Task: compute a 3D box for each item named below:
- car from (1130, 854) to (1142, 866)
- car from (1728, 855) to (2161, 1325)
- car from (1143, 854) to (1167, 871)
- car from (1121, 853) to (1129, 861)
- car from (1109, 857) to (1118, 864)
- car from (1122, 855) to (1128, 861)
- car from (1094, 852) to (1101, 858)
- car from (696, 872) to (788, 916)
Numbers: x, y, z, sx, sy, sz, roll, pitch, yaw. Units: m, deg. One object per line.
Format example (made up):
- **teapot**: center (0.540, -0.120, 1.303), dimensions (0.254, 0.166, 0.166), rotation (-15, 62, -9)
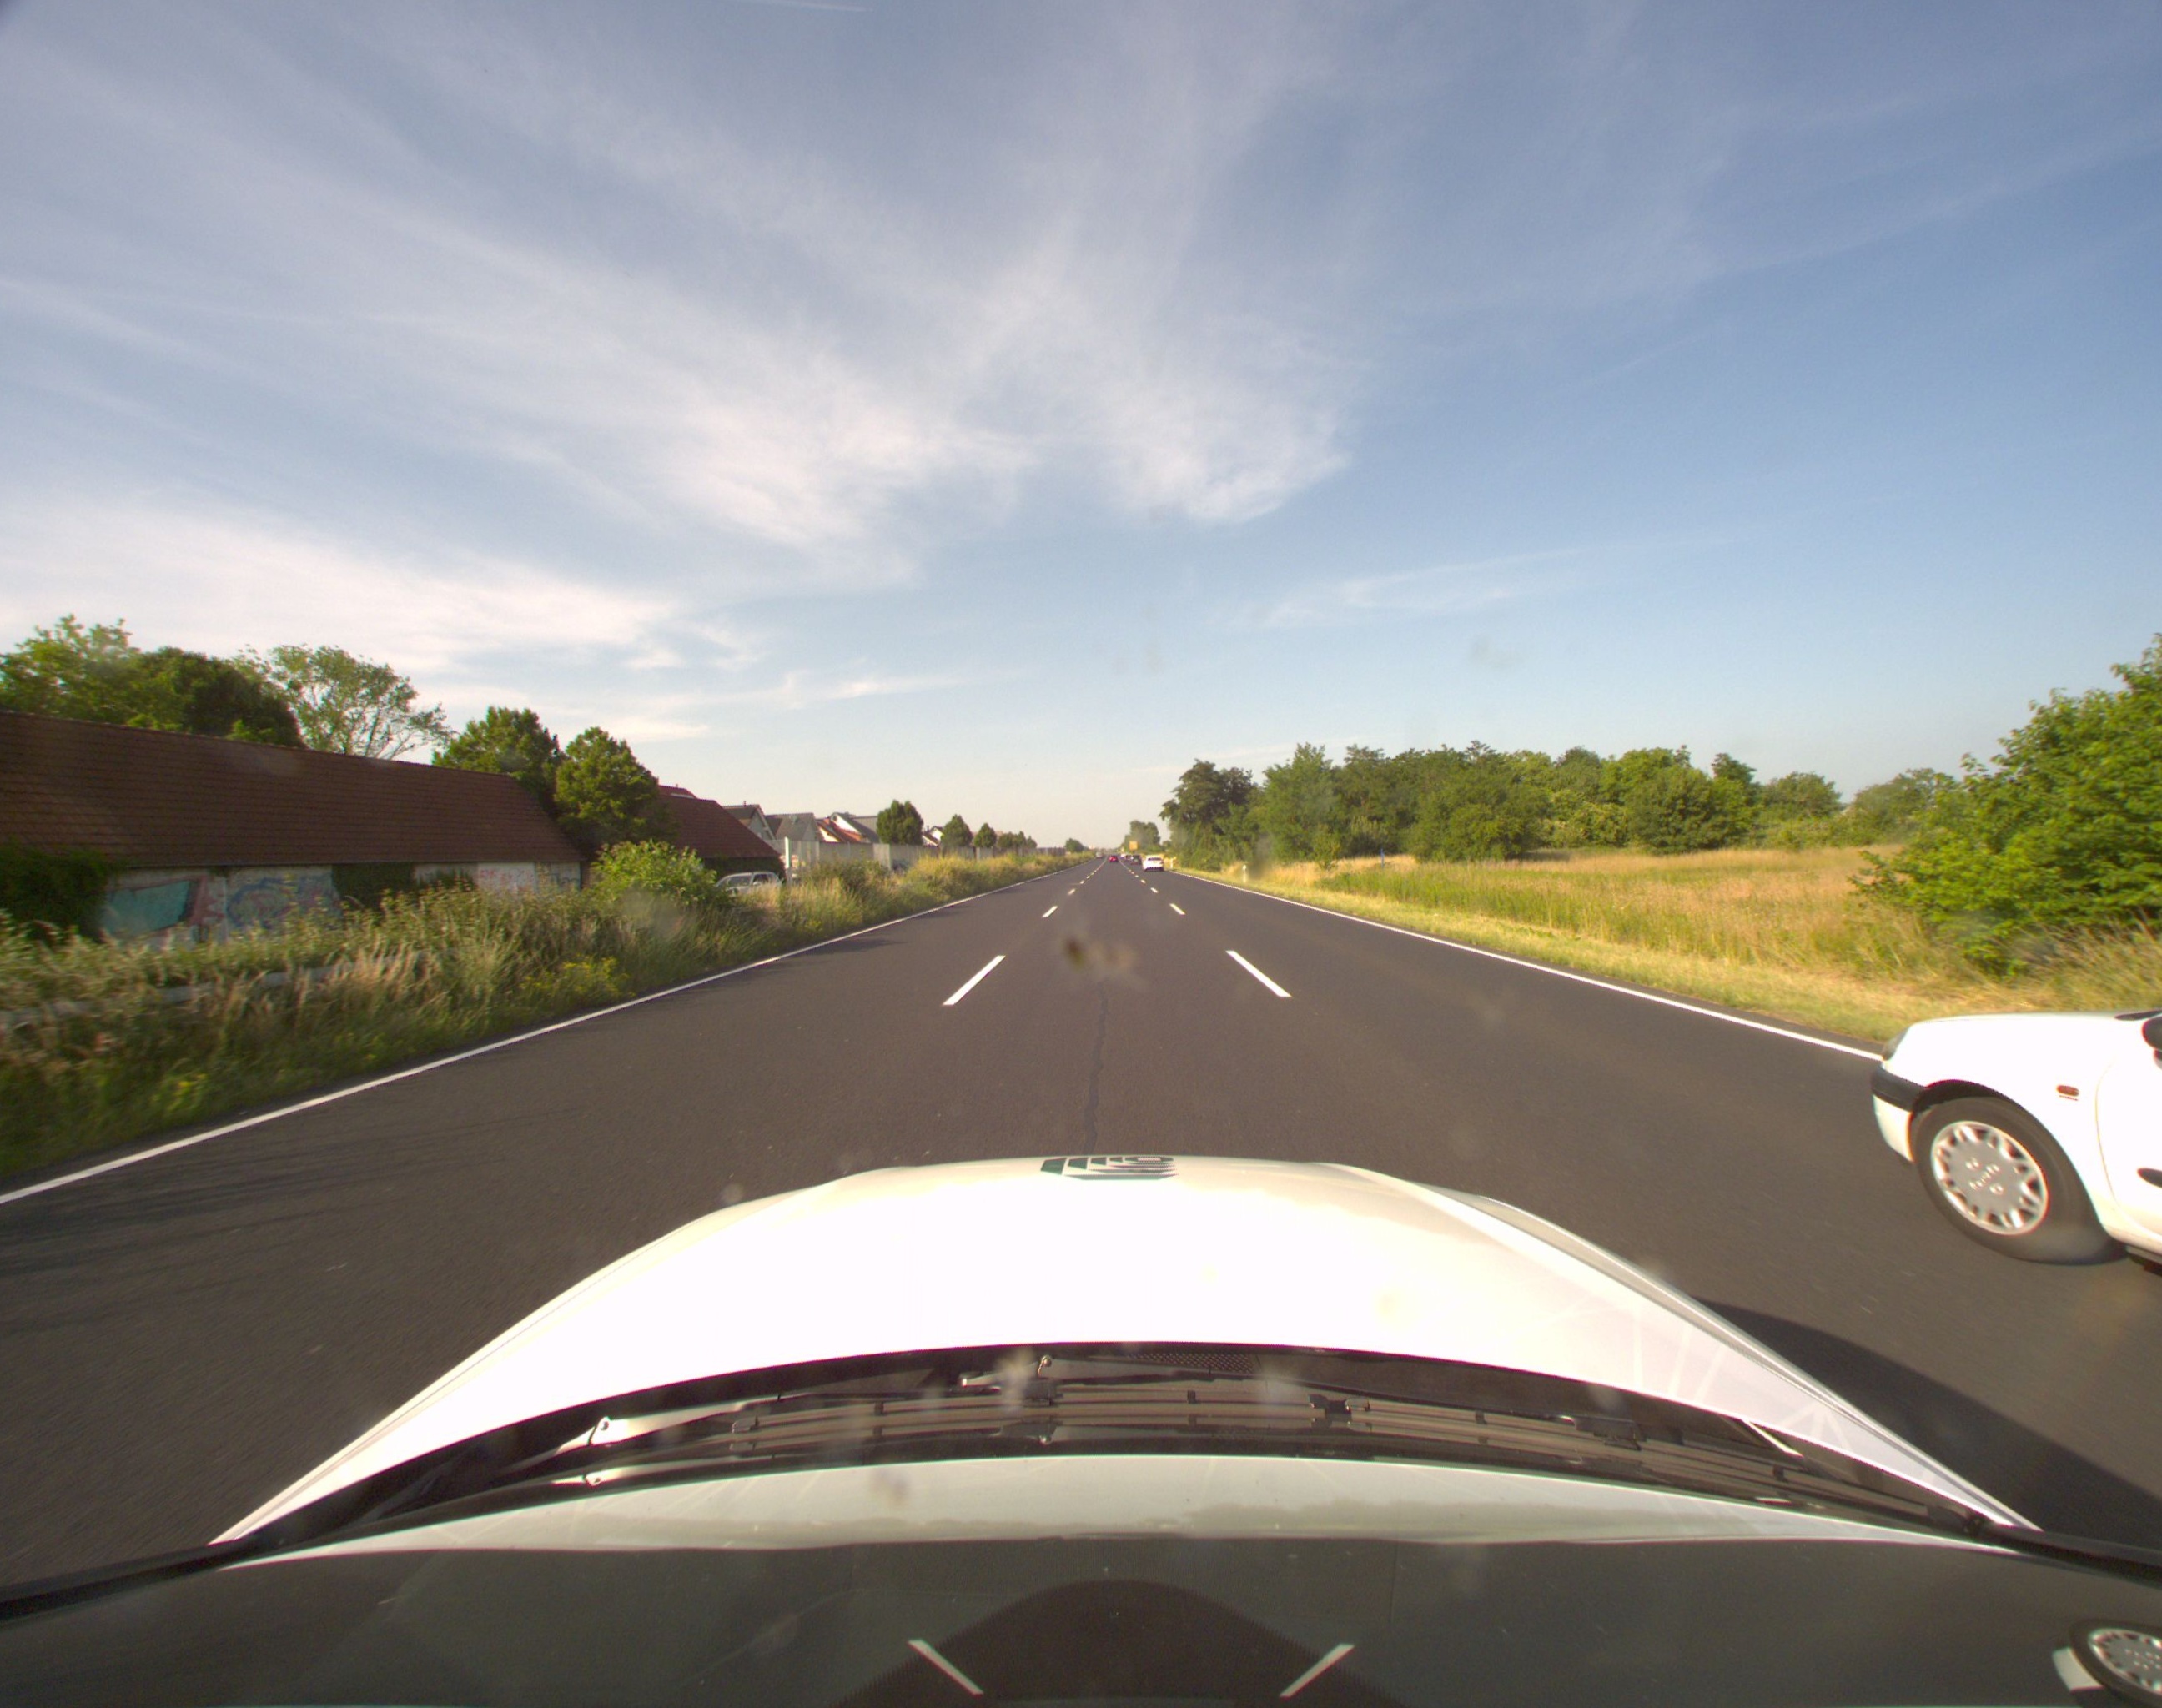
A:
- **car**: center (8.661, 0.951, 128.147), dimensions (1.821, 1.728, 4.001), rotation (-1, -1, 2)
- **car**: center (4.012, 0.697, 2.099), dimensions (1.611, 1.387, 3.952), rotation (-1, -1, 1)
- **car**: center (6.952, 0.767, 76.895), dimensions (1.986, 1.516, 4.002), rotation (-1, -1, 2)
- **car**: center (9.321, 0.658, 172.825), dimensions (1.827, 1.717, 3.864), rotation (-1, -1, 2)
- **car**: center (6.329, 1.235, 158.489), dimensions (1.805, 1.436, 3.859), rotation (-1, -1, 1)
- **car**: center (13.081, 1.066, 243.824), dimensions (1.839, 1.750, 4.003), rotation (-1, -1, 3)
- **car**: center (4.832, 0.219, 233.311), dimensions (1.986, 1.717, 4.002), rotation (-1, -1, 2)
- **car**: center (-13.033, 1.506, 31.558), dimensions (1.682, 1.508, 4.187), rotation (-1, -1, 2)
